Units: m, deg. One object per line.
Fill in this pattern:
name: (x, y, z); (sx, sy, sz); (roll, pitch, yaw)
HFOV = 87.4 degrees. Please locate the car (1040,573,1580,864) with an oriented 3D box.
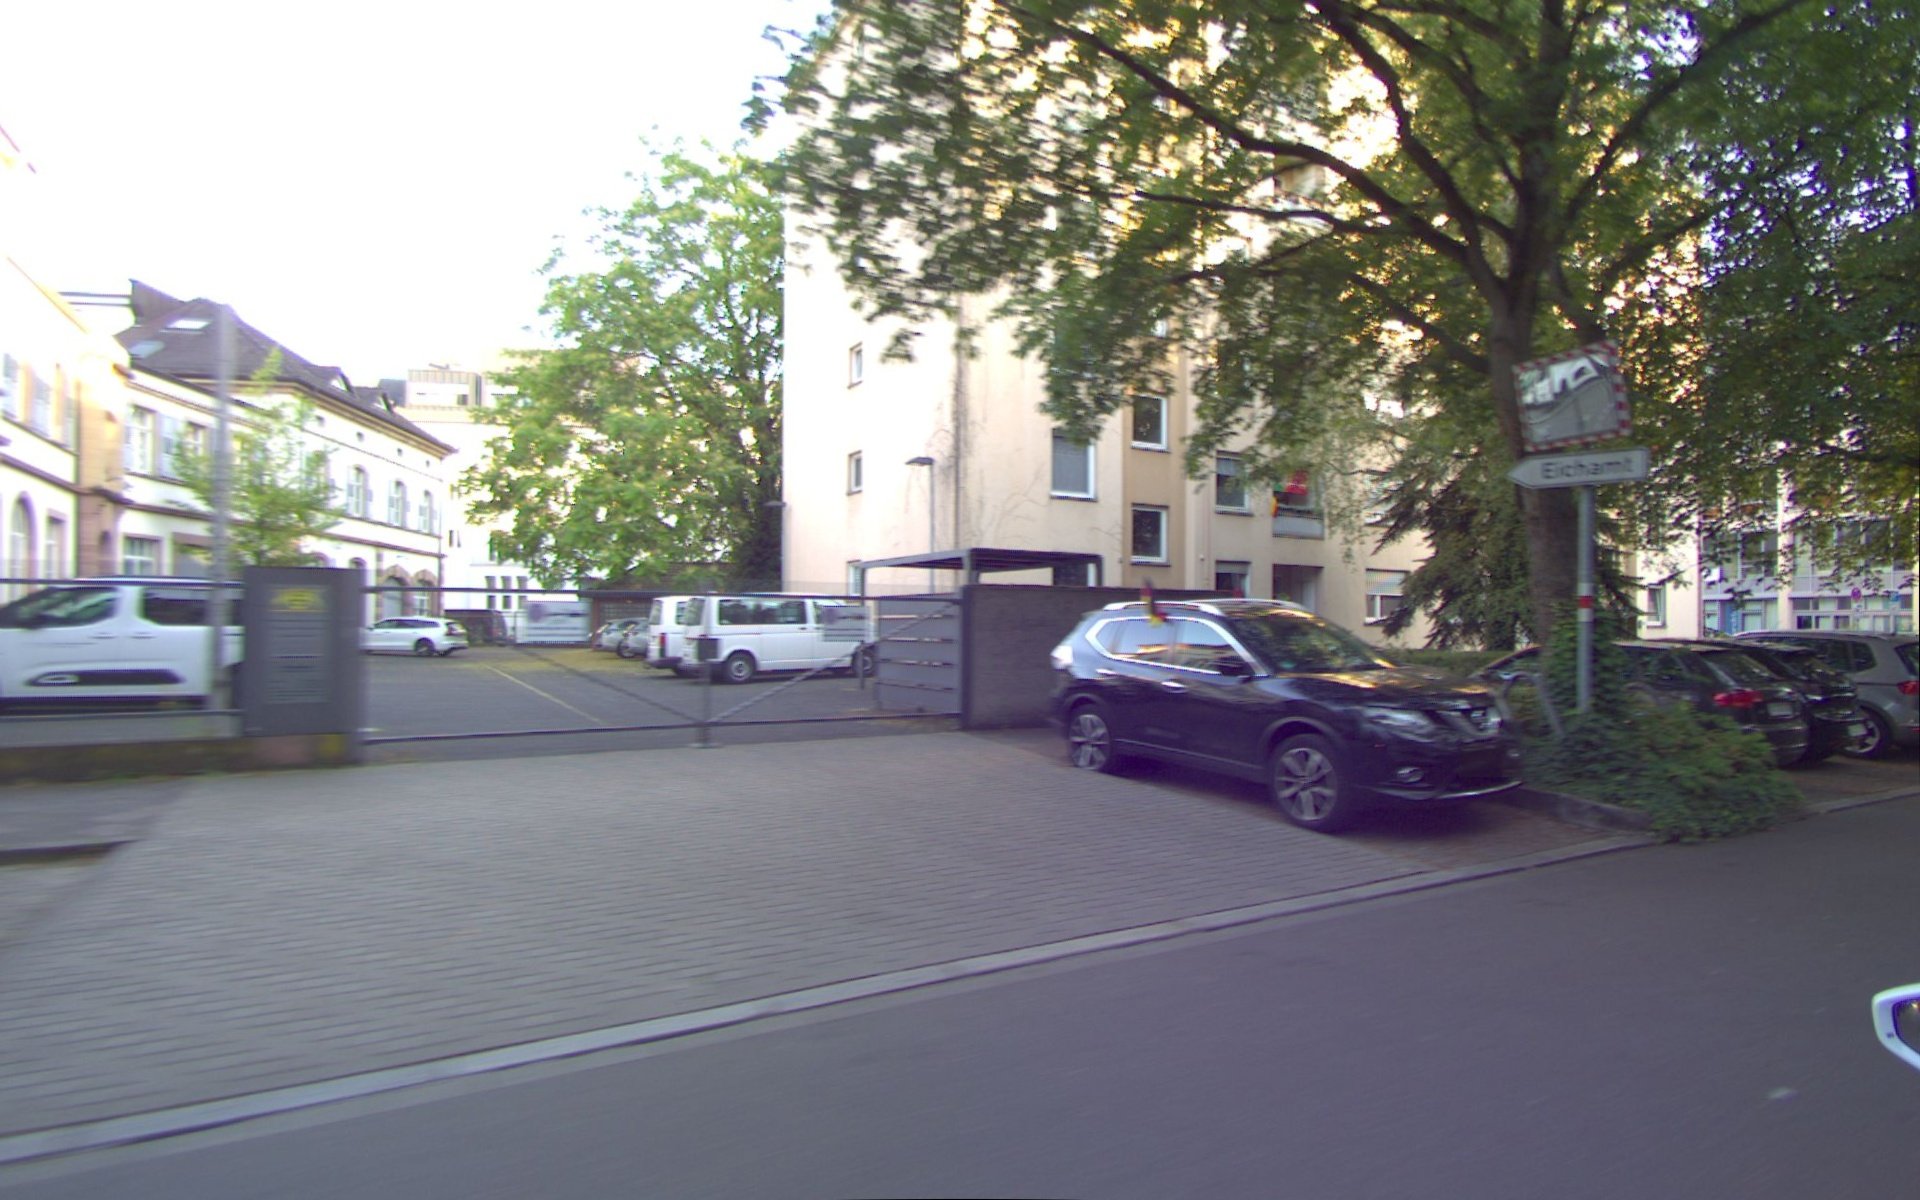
car: (2.776, 0.813, 9.046); (1.976, 1.917, 4.397); (1, -1, -30)

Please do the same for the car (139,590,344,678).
car: (-17.662, 0.845, 24.947); (3.953, 2.040, 1.676); (1, -1, -30)

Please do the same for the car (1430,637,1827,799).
car: (7.293, 1.175, 11.269); (1.576, 1.461, 3.387); (1, -2, -31)

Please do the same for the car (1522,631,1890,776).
car: (9.242, 1.176, 12.699); (1.646, 1.526, 3.387); (1, -2, -31)

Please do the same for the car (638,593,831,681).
car: (-5.584, 0.862, 24.977); (4.364, 2.022, 1.773); (0, -1, -30)

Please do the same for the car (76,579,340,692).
car: (-14.636, 0.688, 19.851); (3.953, 2.040, 1.676); (1, -1, -30)

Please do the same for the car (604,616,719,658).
car: (-11.382, 1.400, 38.362); (3.953, 1.550, 1.551); (1, -1, -30)

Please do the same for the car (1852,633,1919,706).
car: (20.987, 1.433, 19.817); (2.048, 1.443, 4.691); (1, -1, -31)

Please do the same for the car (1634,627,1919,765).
car: (11.492, 1.204, 13.743); (1.741, 1.630, 3.387); (1, -2, -31)

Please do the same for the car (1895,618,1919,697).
car: (22.796, 1.304, 20.992); (2.041, 1.707, 4.373); (1, 0, -31)

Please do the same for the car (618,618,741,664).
car: (-9.959, 1.432, 35.709); (3.953, 1.550, 1.551); (1, -1, -30)

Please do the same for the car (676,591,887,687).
car: (-4.004, 0.814, 22.680); (4.364, 1.982, 1.773); (0, -1, -30)

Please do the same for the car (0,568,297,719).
car: (-11.537, 0.572, 13.304); (4.411, 1.830, 1.773); (3, -2, -30)

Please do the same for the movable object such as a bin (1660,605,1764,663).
movable object such as a bin: (36.445, 1.619, 48.828); (1.768, 2.669, 4.108); (1, -1, -5)

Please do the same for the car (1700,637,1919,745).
car: (13.806, 1.333, 15.014); (1.727, 1.398, 4.078); (1, 0, -31)

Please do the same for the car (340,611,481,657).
car: (-20.526, 1.269, 37.673); (4.229, 1.658, 1.774); (1, -1, -8)
